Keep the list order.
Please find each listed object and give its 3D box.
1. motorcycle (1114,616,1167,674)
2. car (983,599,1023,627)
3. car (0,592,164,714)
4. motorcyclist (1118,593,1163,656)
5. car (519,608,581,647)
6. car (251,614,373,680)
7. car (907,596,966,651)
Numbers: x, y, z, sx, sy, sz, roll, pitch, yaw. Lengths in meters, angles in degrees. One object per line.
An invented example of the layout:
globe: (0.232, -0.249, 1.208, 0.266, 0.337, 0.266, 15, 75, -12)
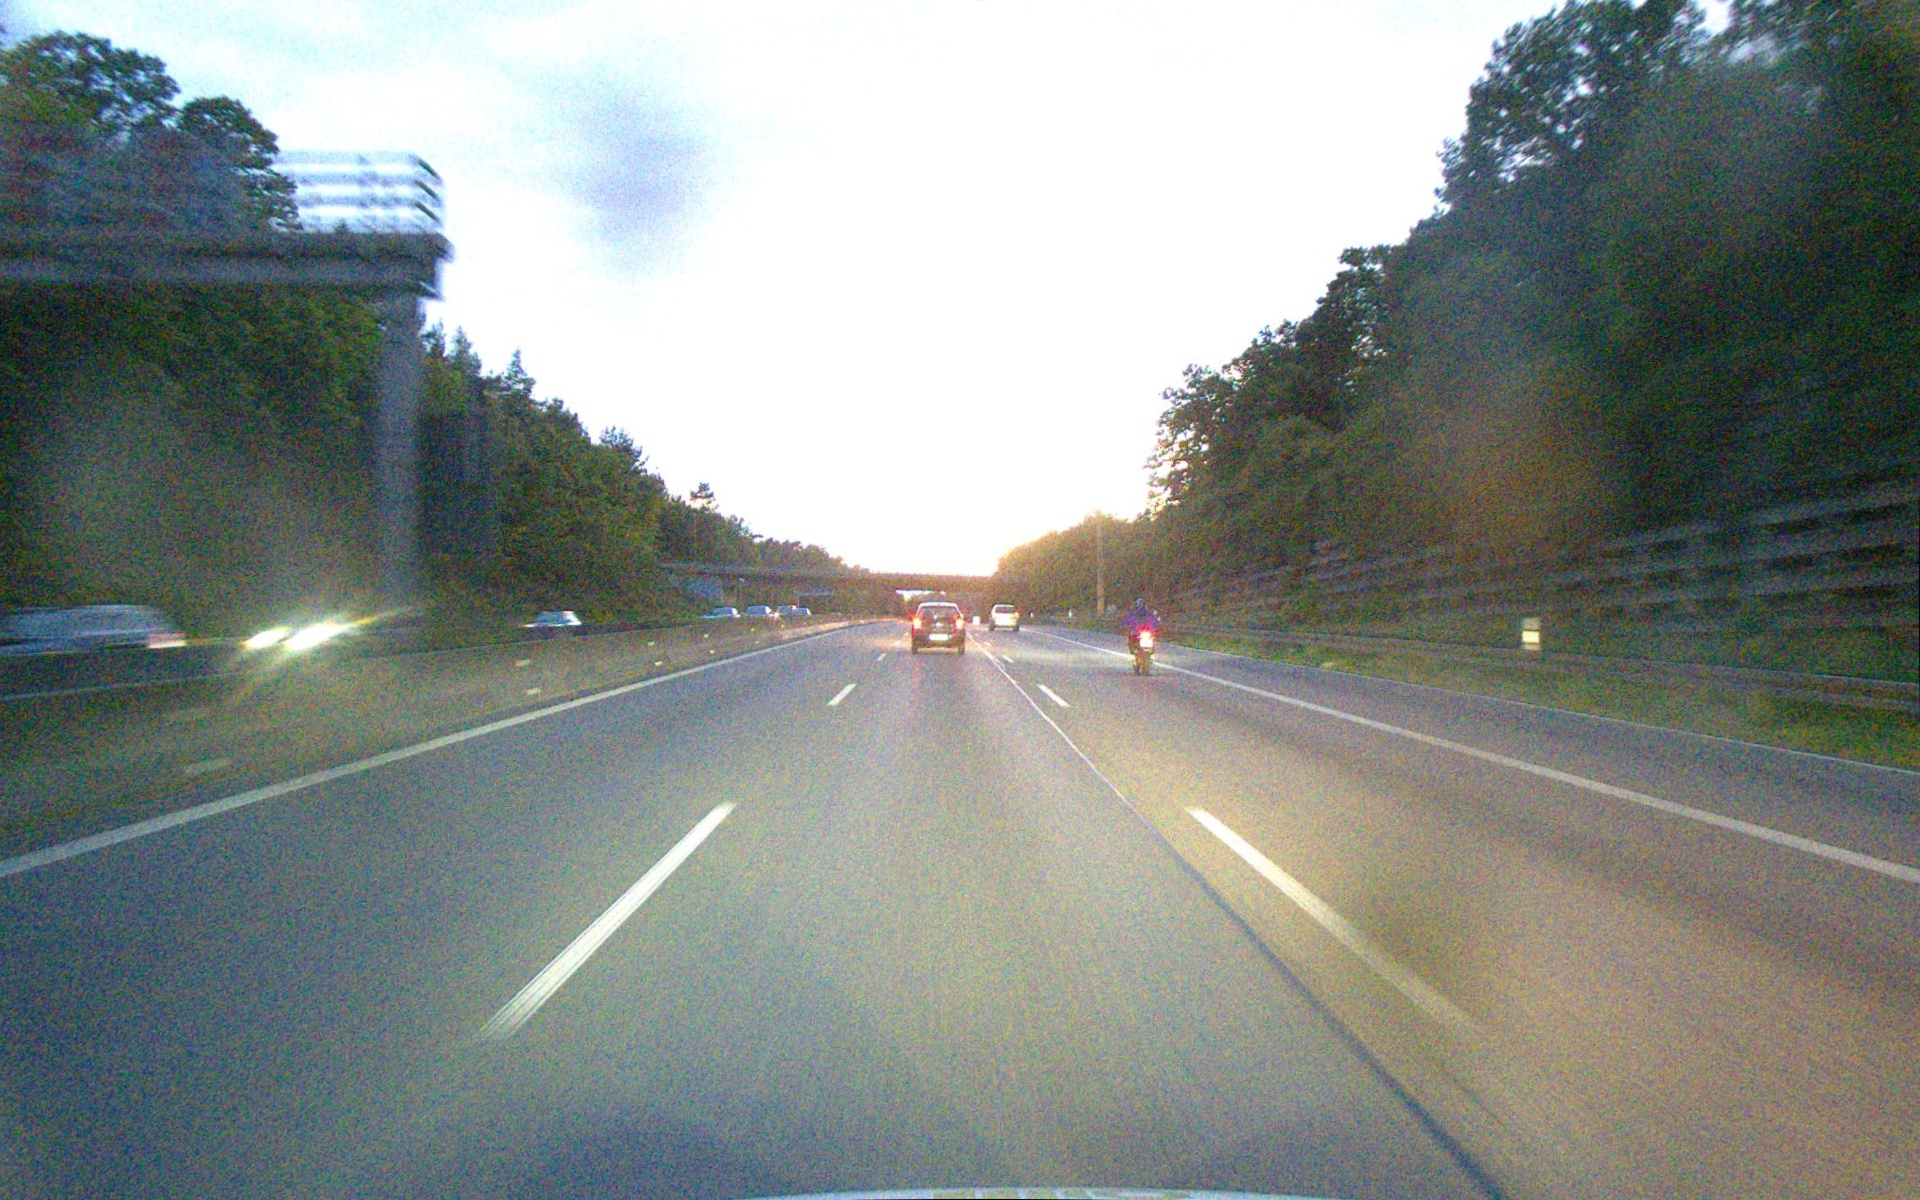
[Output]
motorcycle: (3.812, 0.930, 35.049, 0.813, 1.154, 2.475, 0, 0, -1)
car: (2.496, 0.759, 97.506, 1.829, 1.520, 4.394, 1, 0, -5)
car: (-15.009, 0.785, 26.902, 1.878, 1.796, 5.005, 0, 0, -3)
motorcyclist: (3.811, 0.513, 34.982, 0.813, 1.314, 1.190, 0, 0, -1)
car: (-19.693, 1.306, 79.623, 1.878, 1.796, 5.007, 0, 0, -2)
car: (-19.168, 1.339, 49.146, 1.878, 1.796, 5.005, 0, 0, -3)
car: (-0.695, 0.698, 49.561, 1.669, 1.536, 4.231, 1, 0, -1)
